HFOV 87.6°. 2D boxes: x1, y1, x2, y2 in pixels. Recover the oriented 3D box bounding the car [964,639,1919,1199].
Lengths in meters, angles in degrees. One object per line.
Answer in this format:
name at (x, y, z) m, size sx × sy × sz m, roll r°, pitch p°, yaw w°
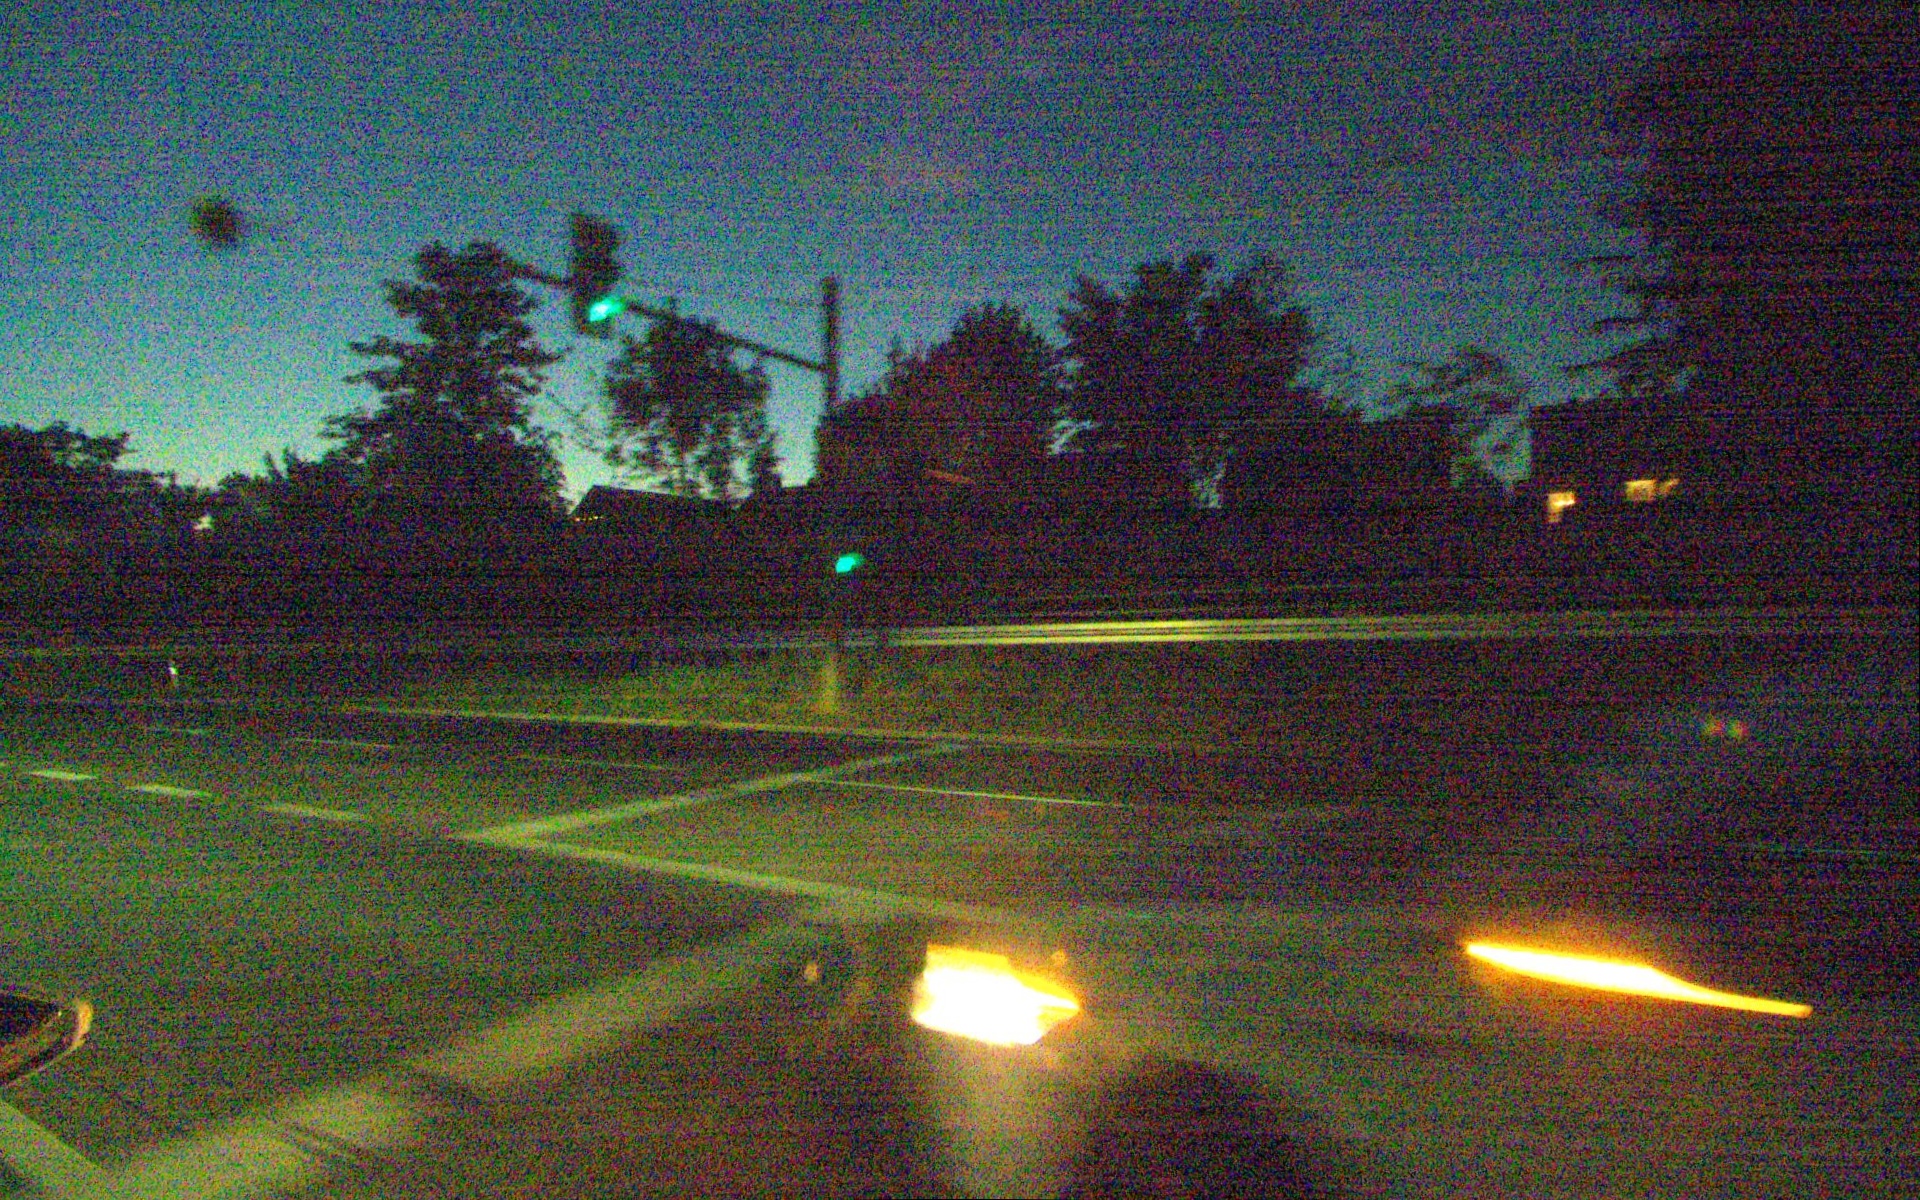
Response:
car at (2.220, 0.822, 1.937) m, size 4.131 × 1.478 × 1.756 m, roll -1°, pitch -2°, yaw 31°
